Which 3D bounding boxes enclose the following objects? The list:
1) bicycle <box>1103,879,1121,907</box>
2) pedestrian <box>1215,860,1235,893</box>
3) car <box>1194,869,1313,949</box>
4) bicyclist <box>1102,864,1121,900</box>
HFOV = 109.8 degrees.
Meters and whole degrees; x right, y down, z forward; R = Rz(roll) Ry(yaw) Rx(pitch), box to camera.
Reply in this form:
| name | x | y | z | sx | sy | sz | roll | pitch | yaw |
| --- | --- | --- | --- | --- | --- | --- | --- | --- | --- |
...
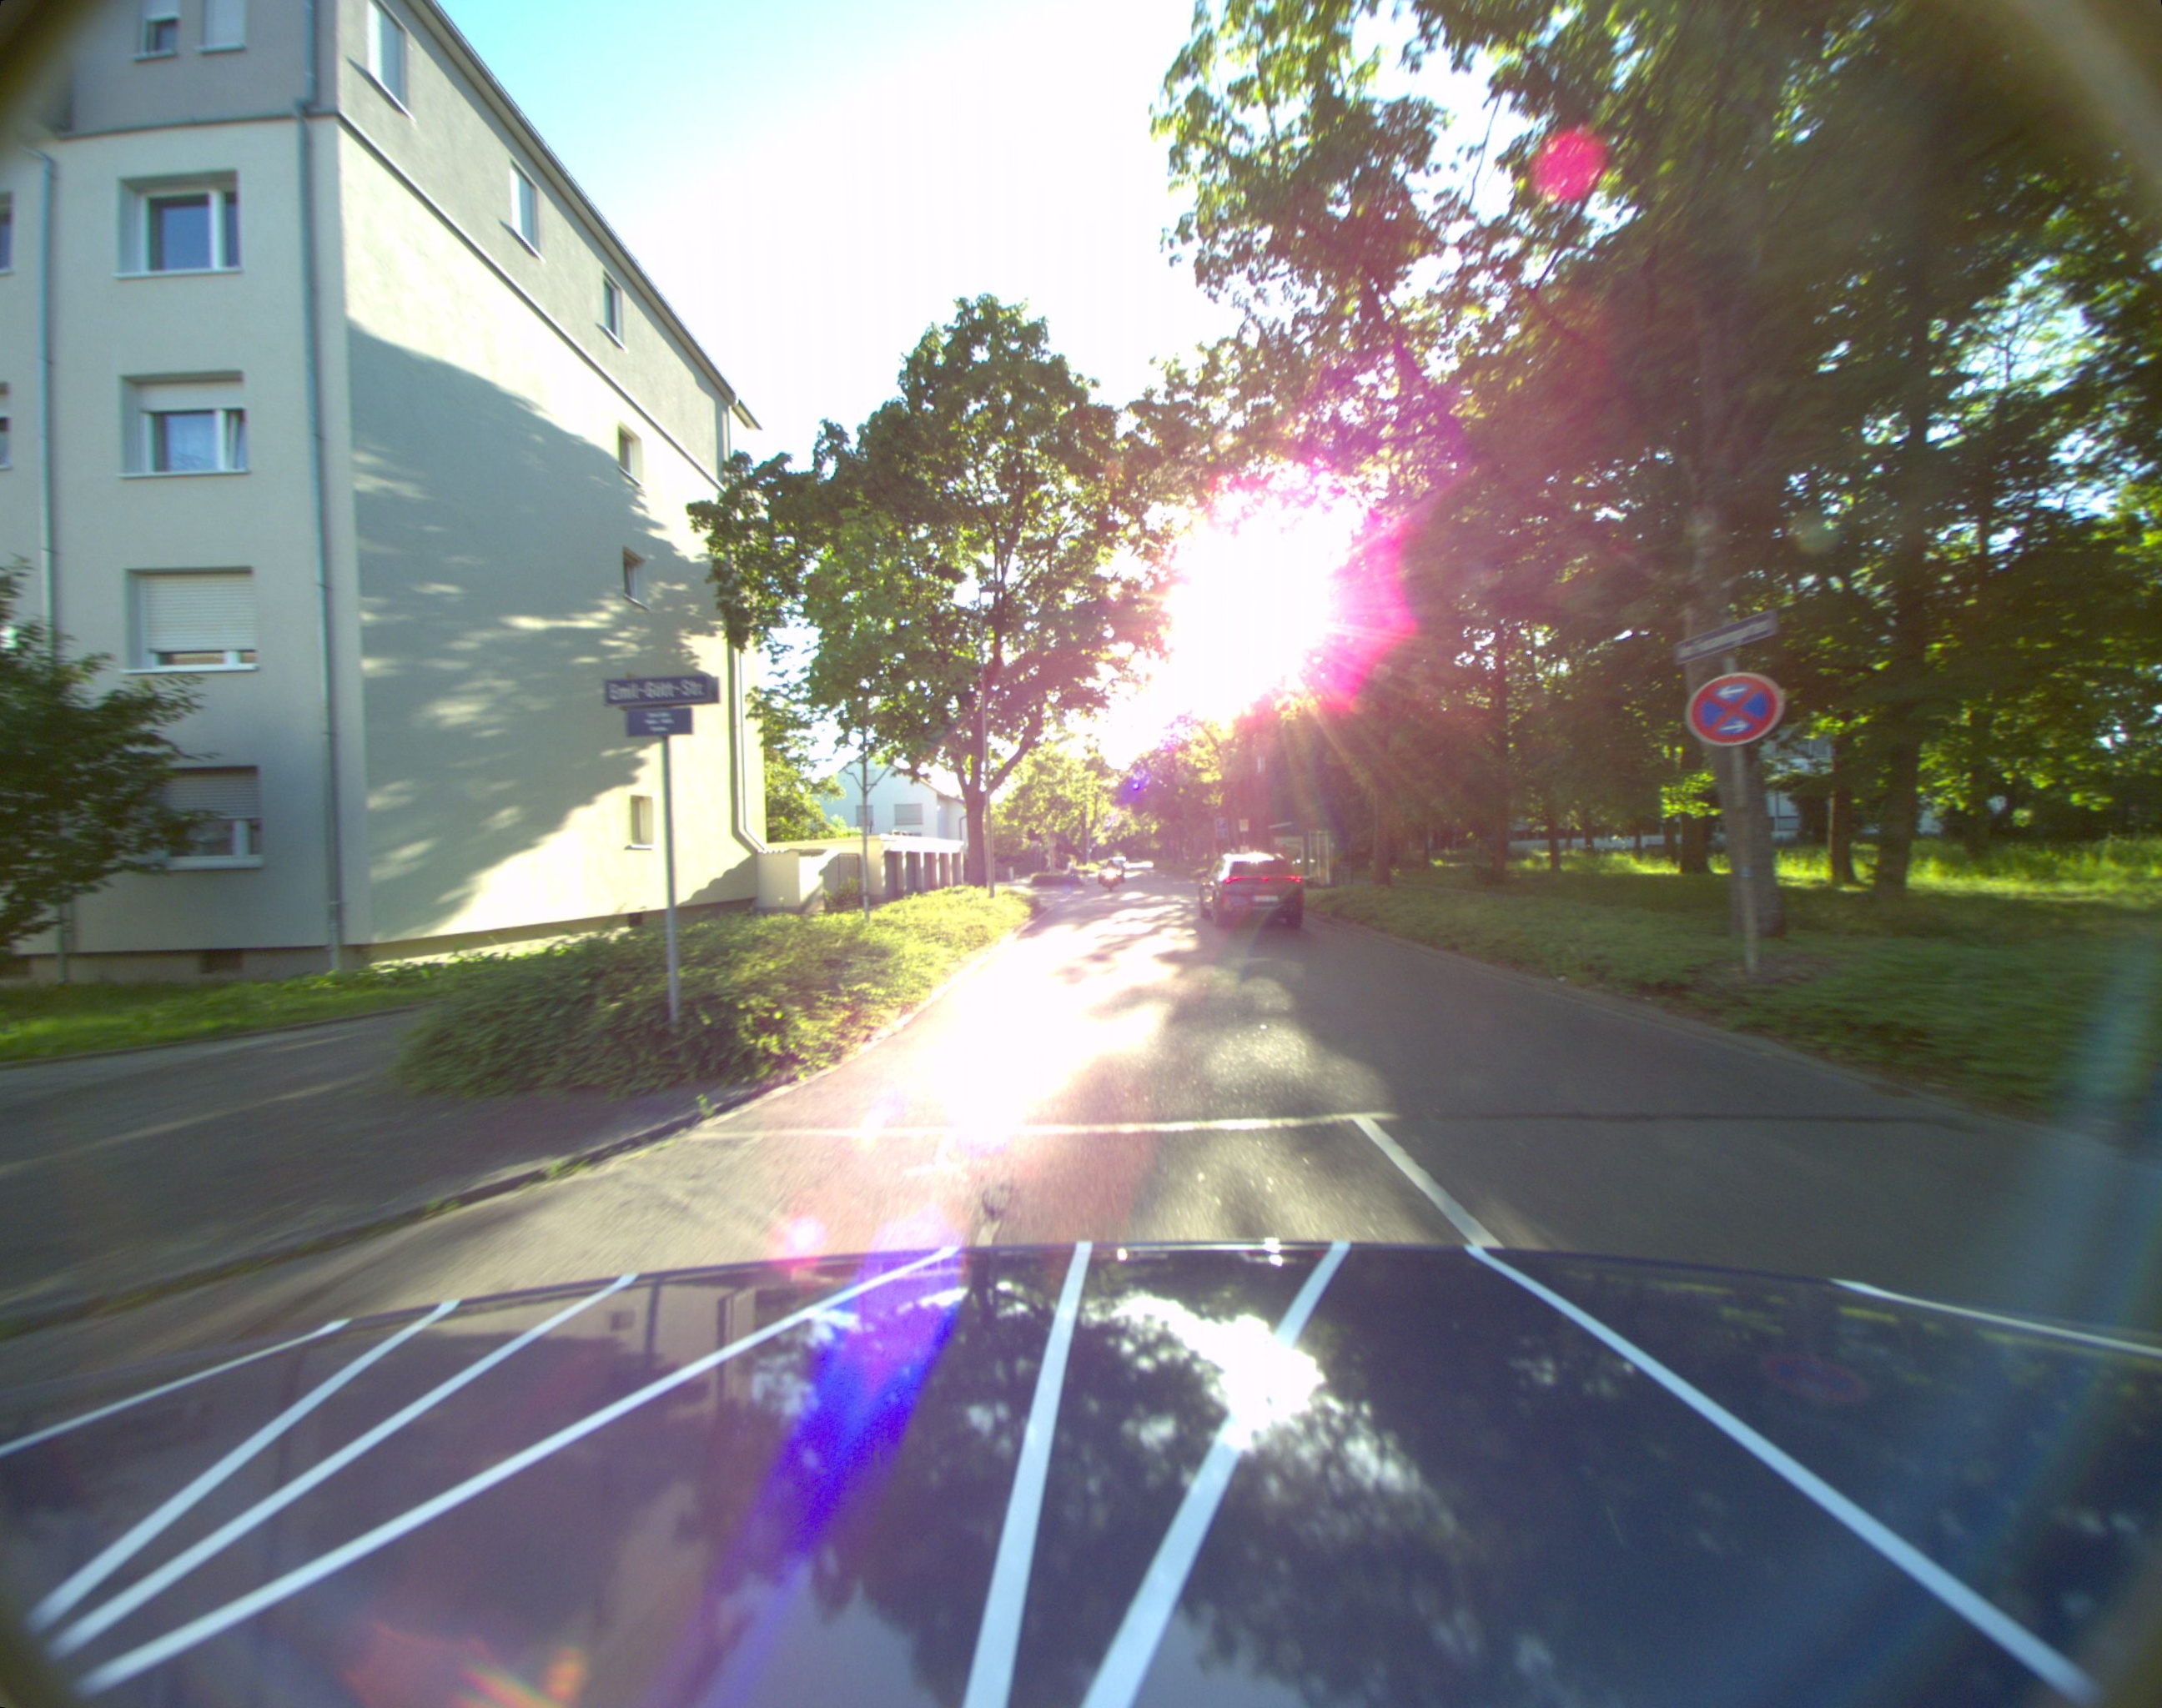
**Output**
| name | x | y | z | sx | sy | sz | roll | pitch | yaw |
| --- | --- | --- | --- | --- | --- | --- | --- | --- | --- |
| bicycle | 1.485 | 1.836 | 36.377 | 0.829 | 1.182 | 2.302 | -2 | 0 | 2 |
| pedestrian | 8.036 | 1.230 | 42.335 | 0.905 | 1.810 | 0.720 | -2 | 0 | 0 |
| car | 3.805 | 1.149 | 17.497 | 1.848 | 1.569 | 4.336 | 0 | 0 | 1 |
| bicyclist | 1.448 | 1.341 | 36.304 | 0.819 | 1.635 | 0.745 | -3 | 1 | 2 |
